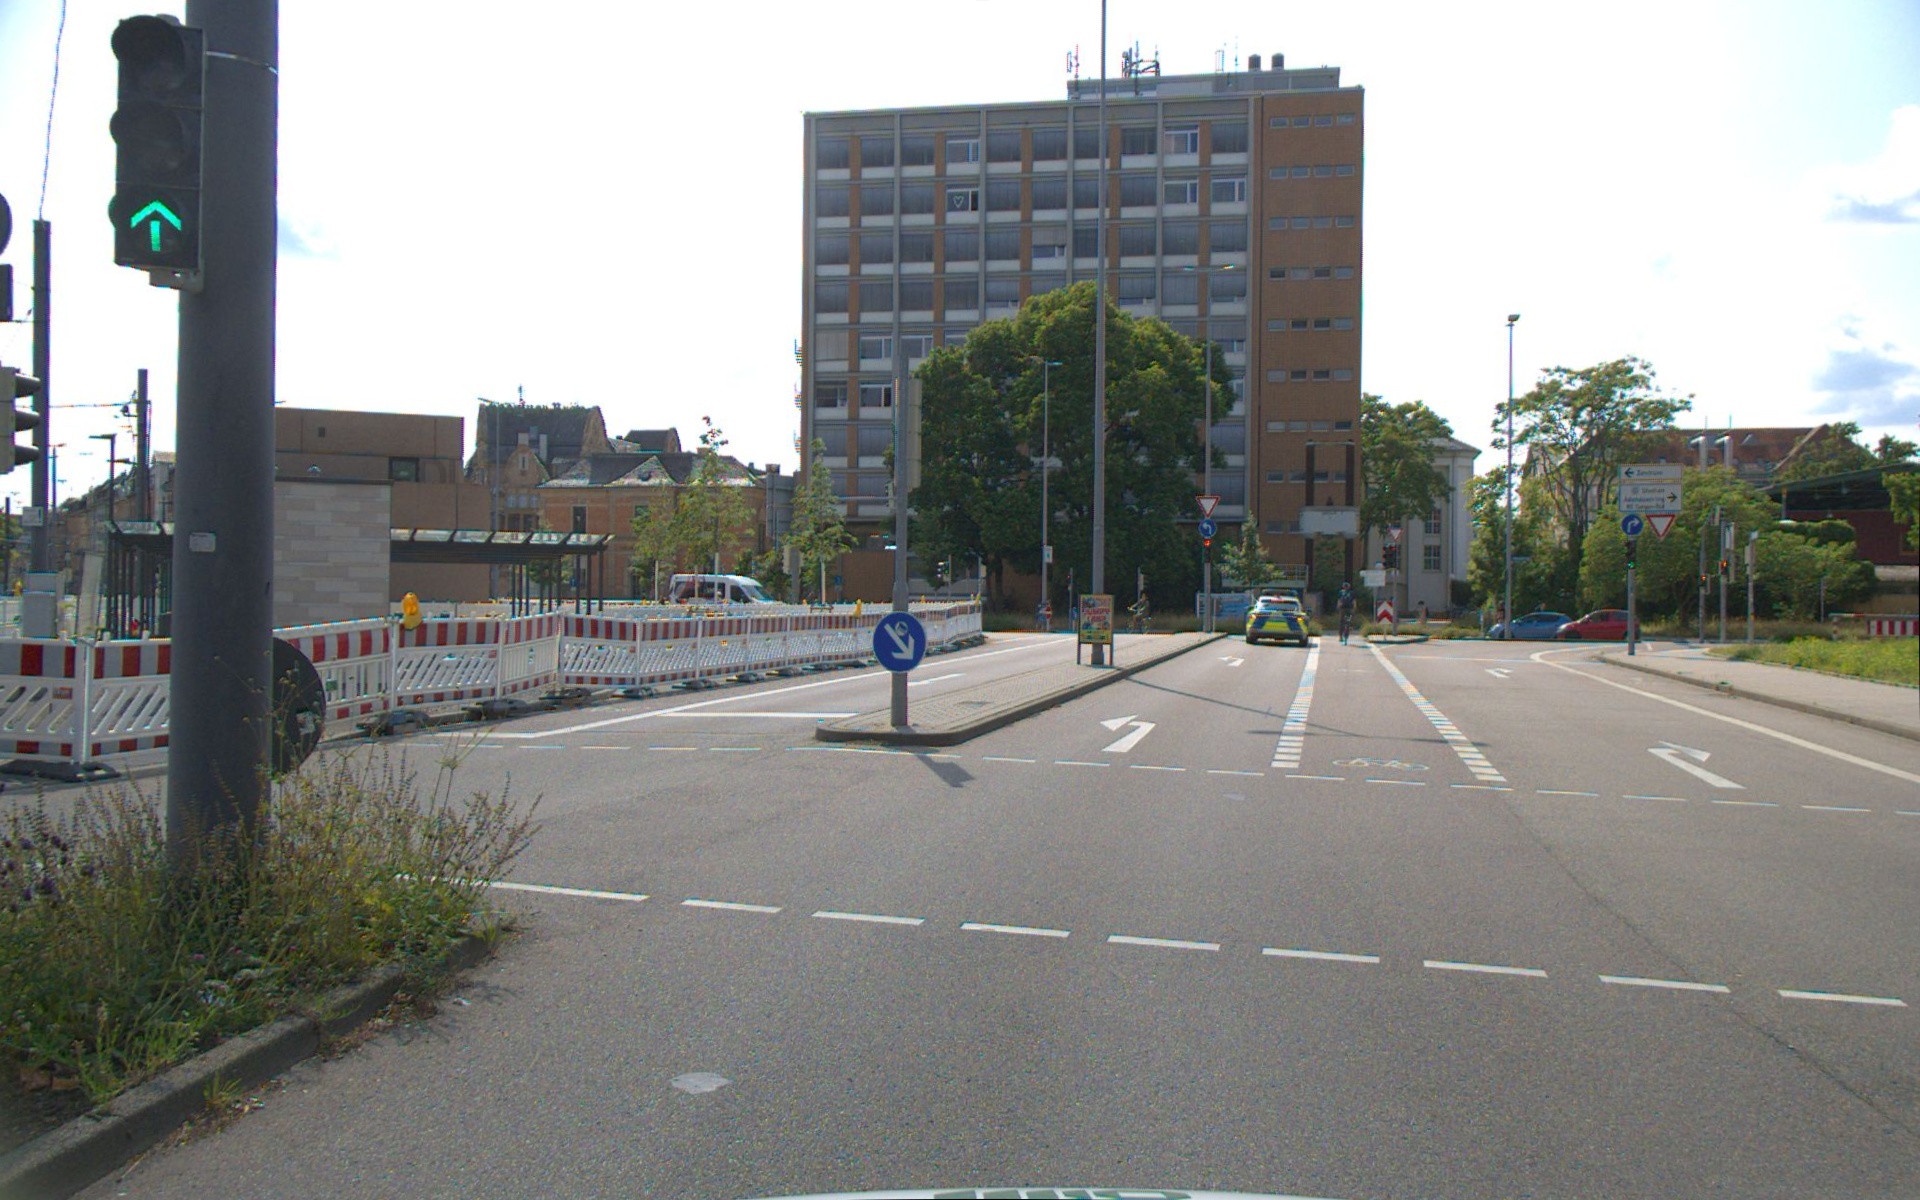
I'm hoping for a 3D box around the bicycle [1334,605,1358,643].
[{"bbox_3d":[12.098,0.747,51.859,0.705,1.103,2.193,0,1,12],"label":"bicycle"}]

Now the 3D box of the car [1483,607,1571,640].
[{"bbox_3d":[25.973,1.044,75.745,3.650,1.482,1.625,0,0,25],"label":"car"}]

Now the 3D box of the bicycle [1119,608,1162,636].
[{"bbox_3d":[7.531,0.910,68.832,0.625,1.103,2.176,1,1,43],"label":"bicycle"}]

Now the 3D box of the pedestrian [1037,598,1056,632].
[{"bbox_3d":[4.879,0.846,93.548,0.923,1.916,0.909,0,0,16],"label":"pedestrian"}]

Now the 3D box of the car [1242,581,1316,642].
[{"bbox_3d":[9.790,0.335,50.609,2.085,1.713,4.106,2,0,12],"label":"car"}]

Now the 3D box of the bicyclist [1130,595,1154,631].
[{"bbox_3d":[7.595,0.536,68.901,0.625,1.496,0.834,1,1,43],"label":"bicyclist"}]

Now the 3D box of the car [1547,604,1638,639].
[{"bbox_3d":[27.591,0.918,72.151,3.650,1.482,1.625,0,0,25],"label":"car"}]

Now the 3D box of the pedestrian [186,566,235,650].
[{"bbox_3d":[-16.751,0.186,36.941,0.922,1.821,1.168,1,-1,-27],"label":"pedestrian"}]

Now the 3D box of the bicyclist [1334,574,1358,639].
[{"bbox_3d":[12.108,0.187,51.910,0.703,2.008,0.840,0,1,12],"label":"bicyclist"}]

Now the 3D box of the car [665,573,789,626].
[{"bbox_3d":[-10.709,-0.004,76.021,5.469,2.359,2.296,0,0,32],"label":"car"}]
